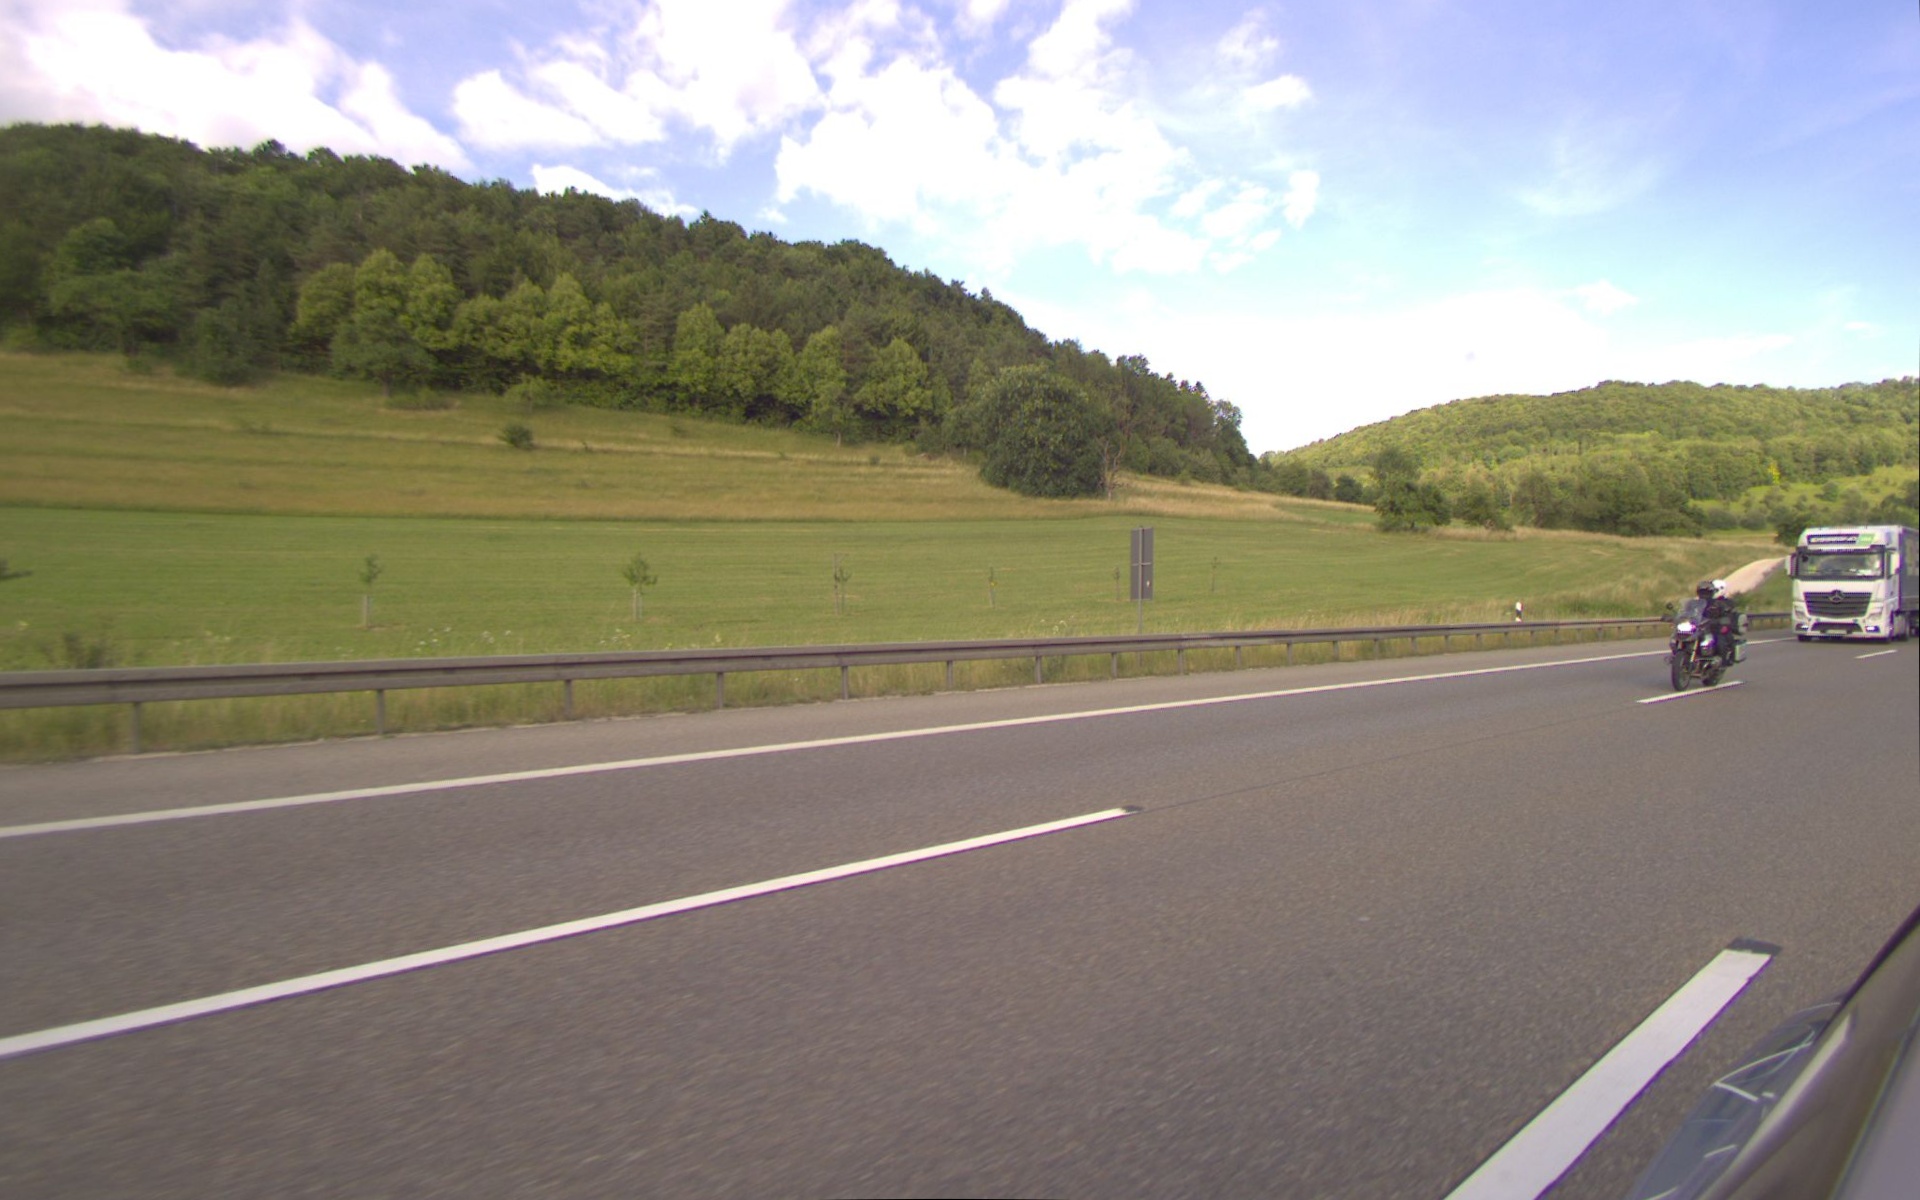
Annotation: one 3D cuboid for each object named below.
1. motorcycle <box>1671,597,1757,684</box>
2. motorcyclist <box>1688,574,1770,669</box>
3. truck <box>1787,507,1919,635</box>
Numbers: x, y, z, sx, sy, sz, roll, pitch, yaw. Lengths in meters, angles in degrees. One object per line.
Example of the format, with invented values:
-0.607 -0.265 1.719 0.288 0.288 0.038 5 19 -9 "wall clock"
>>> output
12.456 0.636 16.706 1.706 1.356 0.629 0 0 -35 "motorcycle"
12.937 0.343 17.023 0.782 1.534 0.880 -1 0 -33 "motorcyclist"
35.632 -0.997 38.623 17.414 4.042 2.971 -1 1 -39 "truck"
